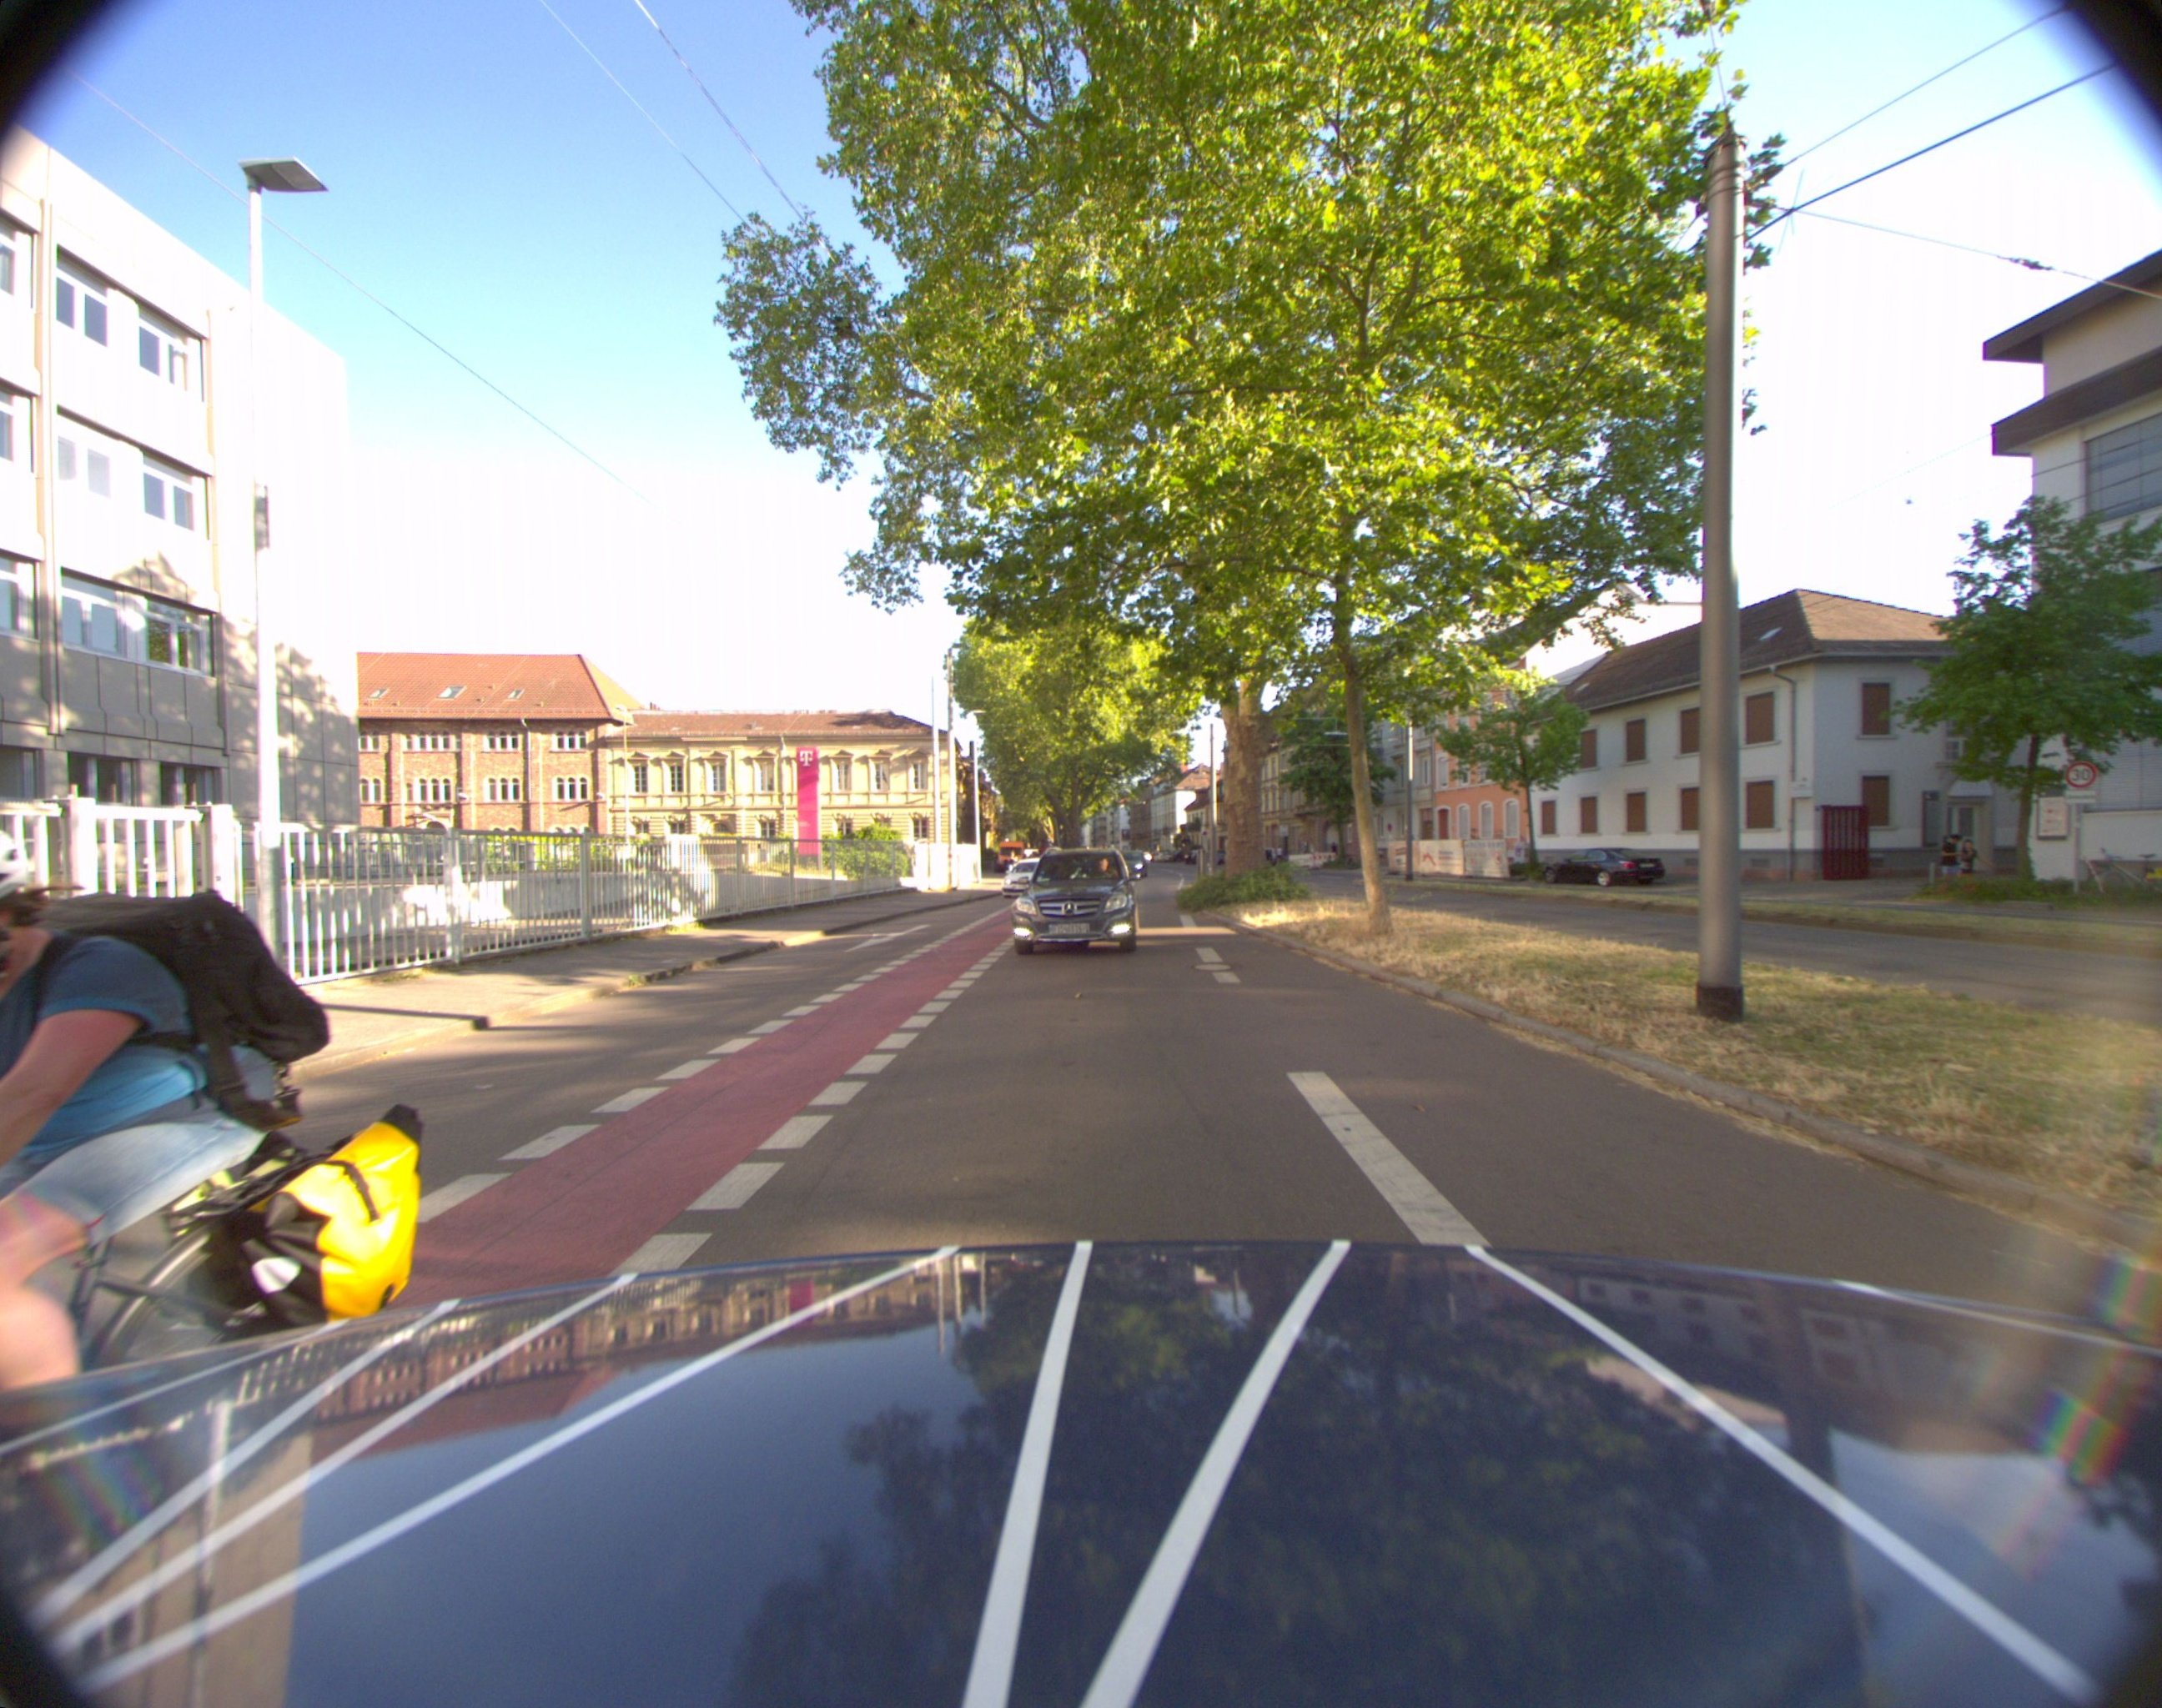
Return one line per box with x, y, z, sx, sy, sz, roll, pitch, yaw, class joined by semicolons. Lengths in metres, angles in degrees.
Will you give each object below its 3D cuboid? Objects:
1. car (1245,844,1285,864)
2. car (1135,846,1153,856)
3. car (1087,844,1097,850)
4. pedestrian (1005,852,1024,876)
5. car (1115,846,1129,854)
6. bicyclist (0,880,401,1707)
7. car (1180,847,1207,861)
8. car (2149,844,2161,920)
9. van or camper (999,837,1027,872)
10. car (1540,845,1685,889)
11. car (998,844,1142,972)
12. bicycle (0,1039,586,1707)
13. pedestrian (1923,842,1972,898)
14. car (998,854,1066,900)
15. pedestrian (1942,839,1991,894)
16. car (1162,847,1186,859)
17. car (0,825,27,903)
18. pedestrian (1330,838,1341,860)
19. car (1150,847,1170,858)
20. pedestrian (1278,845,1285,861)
17.106;-0.057;70.846;2.088;1.664;4.529;-4;1;-7;car
10.861;-0.545;131.430;2.088;1.531;4.253;-4;1;-7;car
3.164;-2.041;219.388;2.088;1.531;4.124;-4;1;-7;car
-4.049;0.605;45.990;0.897;1.464;0.811;0;1;16;pedestrian
8.394;-0.805;156.959;2.088;1.531;4.117;-4;1;-7;car
-2.032;0.788;1.383;0.728;1.414;0.859;-2;1;1;bicyclist
13.800;0.000;93.640;2.088;1.531;4.513;-4;1;-7;car
22.340;0.510;13.122;2.088;1.481;3.994;-4;1;-7;car
-5.268;-0.016;59.479;1.999;2.578;5.623;-2;1;-4;van or camper
20.624;0.452;29.759;2.088;1.462;4.576;-4;1;-7;car
-0.009;0.729;12.799;1.908;1.635;4.517;-3;1;4;car
-2.020;1.186;1.325;0.764;1.138;2.306;-1;1;0;bicycle
23.751;0.426;20.832;0.537;1.519;0.711;-1;1;-11;pedestrian
-1.875;0.864;30.389;1.792;1.494;4.303;-3;1;8;car
24.674;0.340;21.181;0.537;1.519;0.711;-1;1;-5;pedestrian
13.068;-0.168;106.718;2.088;1.531;5.101;-4;1;-7;car
-24.118;0.243;14.583;4.576;1.572;1.999;-1;1;-5;car
21.251;-0.400;63.475;0.561;1.798;0.704;-1;1;-7;pedestrian
11.947;-0.240;115.601;2.088;1.531;4.036;-4;1;-7;car
20.011;-0.103;75.825;0.641;1.519;0.615;-1;1;3;pedestrian
